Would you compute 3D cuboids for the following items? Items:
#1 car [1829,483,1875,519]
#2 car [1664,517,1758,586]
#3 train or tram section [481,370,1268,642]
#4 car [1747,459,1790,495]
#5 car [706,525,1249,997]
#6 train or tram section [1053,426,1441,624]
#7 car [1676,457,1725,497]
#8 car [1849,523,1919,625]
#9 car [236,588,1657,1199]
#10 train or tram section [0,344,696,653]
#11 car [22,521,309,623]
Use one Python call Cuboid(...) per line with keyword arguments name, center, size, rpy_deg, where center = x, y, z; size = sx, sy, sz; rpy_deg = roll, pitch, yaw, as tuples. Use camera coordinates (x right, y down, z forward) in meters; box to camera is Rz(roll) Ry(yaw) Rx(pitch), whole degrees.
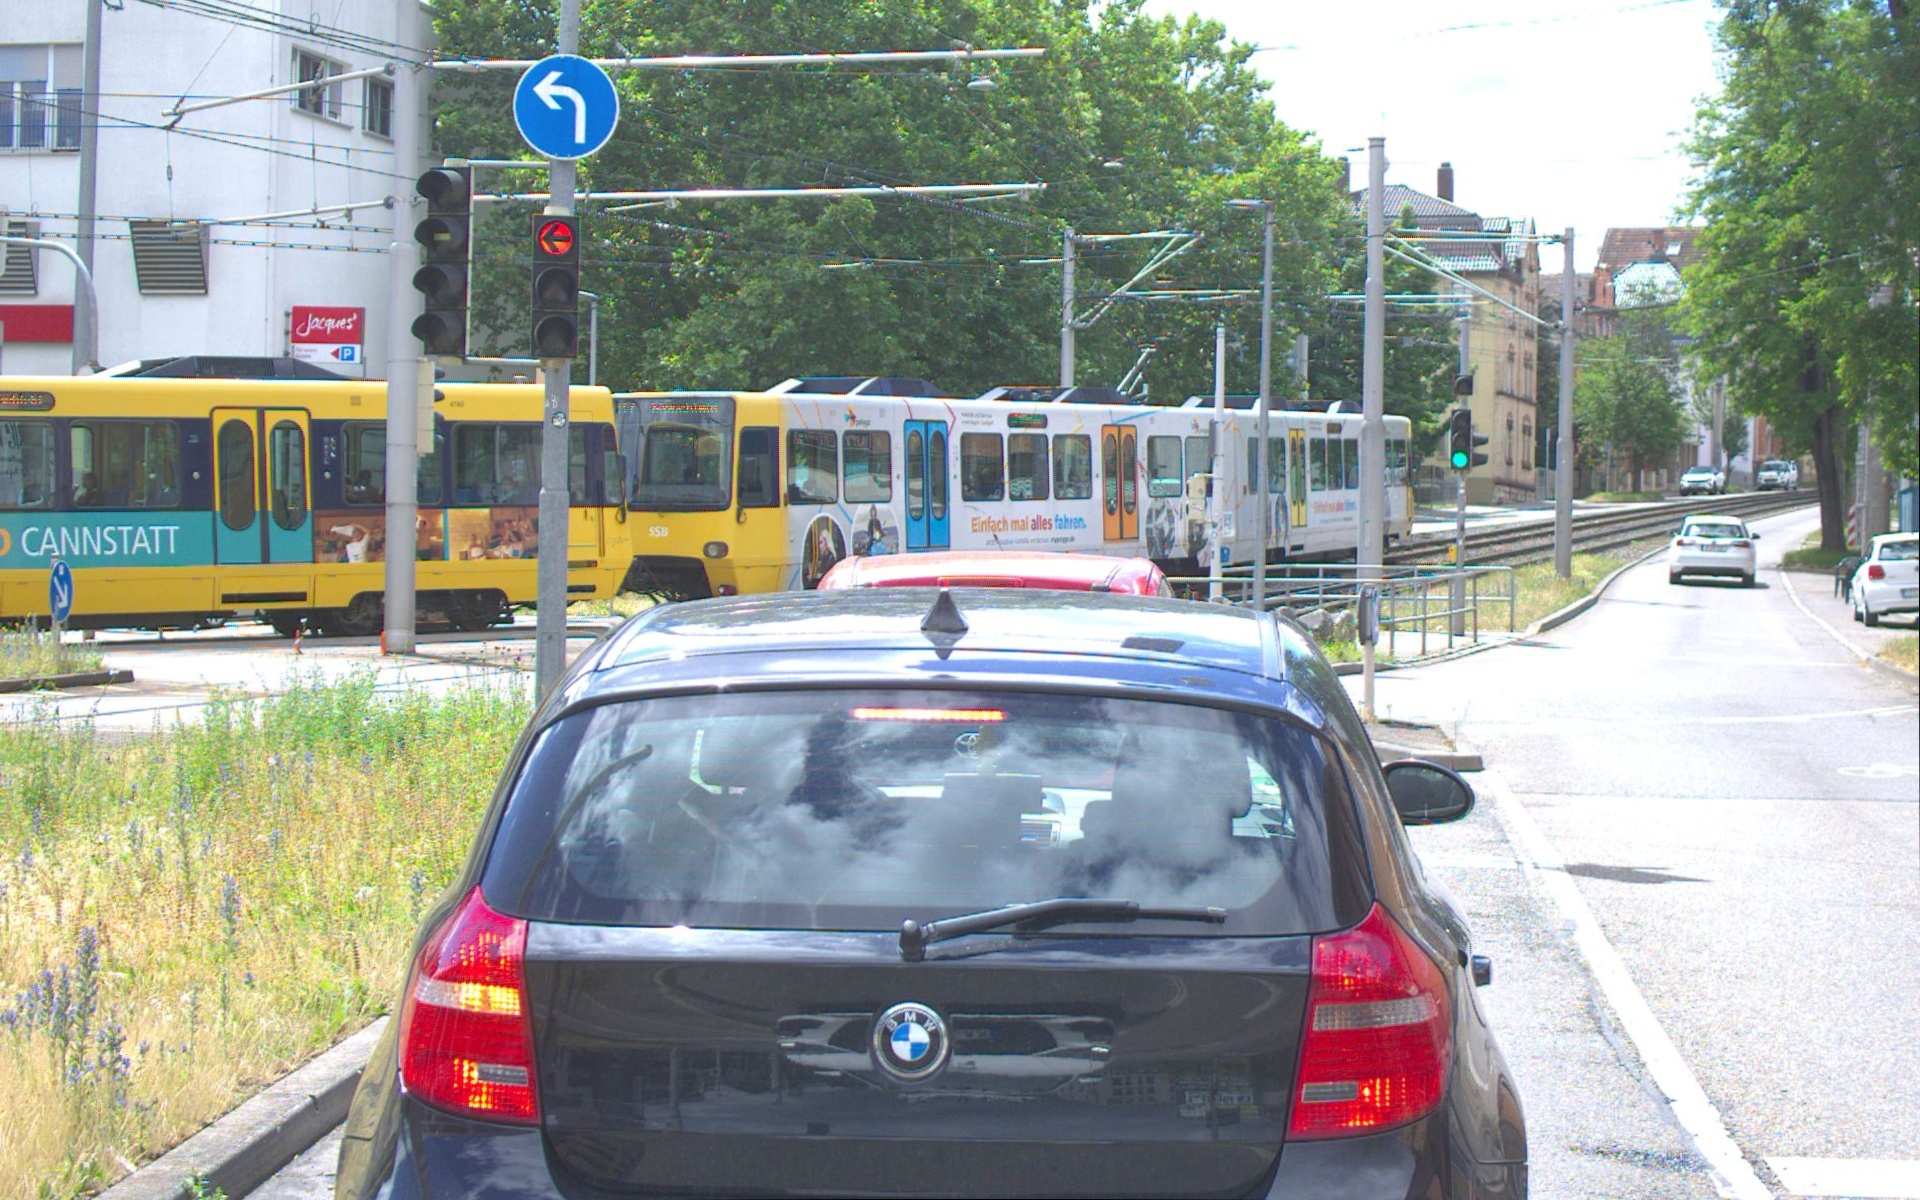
Cuboid(name="car", center=(38.811, -4.297, 149.684), size=(1.816, 1.463, 3.998), rpy_deg=(3, 2, 14))
Cuboid(name="car", center=(16.360, -1.076, 75.008), size=(1.816, 1.463, 3.999), rpy_deg=(0, 1, 10))
Cuboid(name="train or tram section", center=(-0.532, -1.401, 58.831), size=(3.755, 3.866, 20.603), rpy_deg=(0, 0, 28))
Cuboid(name="car", center=(48.706, -7.409, 207.044), size=(1.996, 2.007, 3.996), rpy_deg=(0, 0, 21))
Cuboid(name="car", center=(0.216, 0.498, 12.770), size=(1.625, 1.468, 3.999), rpy_deg=(0, 0, 6))
Cuboid(name="train or tram section", center=(6.884, -1.505, 76.492), size=(3.753, 3.801, 20.032), rpy_deg=(0, 0, 19))
Cuboid(name="car", center=(40.476, -6.700, 187.745), size=(1.996, 2.007, 3.996), rpy_deg=(0, 0, 21))
Cuboid(name="car", center=(15.468, -0.423, 55.998), size=(1.788, 1.590, 3.998), rpy_deg=(0, 0, 13))
Cuboid(name="car", center=(-0.104, 0.710, 6.123), size=(1.701, 1.447, 4.000), rpy_deg=(0, 0, -3))
Cuboid(name="train or tram section", center=(-12.743, -1.258, 44.142), size=(20.089, 3.816, 3.760), rpy_deg=(-1, 0, -39))
Cuboid(name="car", center=(-12.841, -0.451, 55.680), size=(4.158, 1.579, 1.858), rpy_deg=(-1, 0, -44))
